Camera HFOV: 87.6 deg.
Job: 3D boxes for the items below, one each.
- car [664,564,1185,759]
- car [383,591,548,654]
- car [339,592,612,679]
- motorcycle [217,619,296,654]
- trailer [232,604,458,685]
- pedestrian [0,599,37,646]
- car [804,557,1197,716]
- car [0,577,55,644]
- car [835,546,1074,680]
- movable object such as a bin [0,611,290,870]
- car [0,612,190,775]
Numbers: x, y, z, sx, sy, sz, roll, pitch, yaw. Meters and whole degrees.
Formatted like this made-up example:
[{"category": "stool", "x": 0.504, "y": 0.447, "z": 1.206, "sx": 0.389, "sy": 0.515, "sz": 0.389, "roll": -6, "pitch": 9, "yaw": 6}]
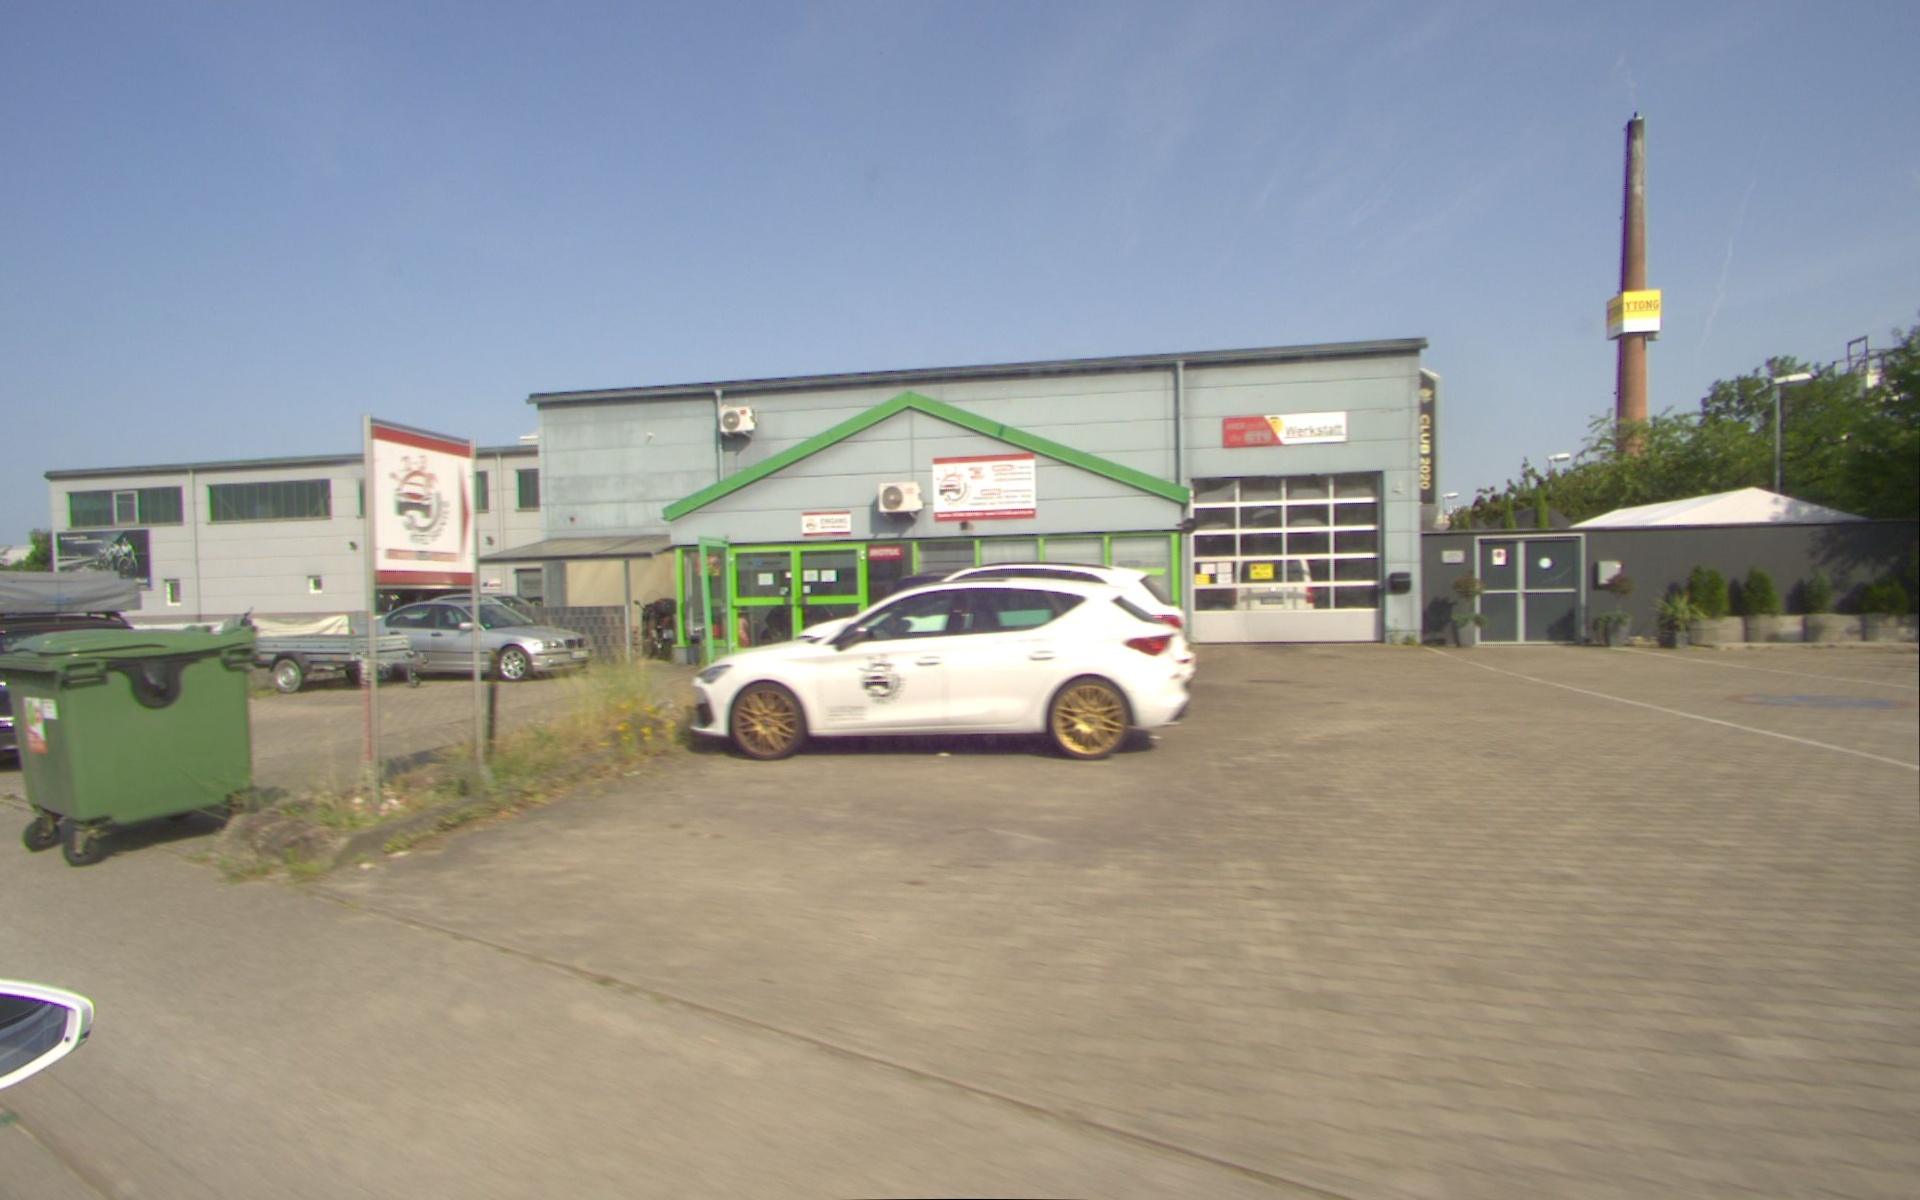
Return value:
[{"category": "car", "x": -0.236, "y": 0.501, "z": 8.778, "sx": 4.181, "sy": 1.485, "sz": 1.692, "roll": -1, "pitch": 1, "yaw": 9}, {"category": "car", "x": -13.244, "y": 0.592, "z": 26.908, "sx": 3.734, "sy": 1.589, "sz": 1.638, "roll": -1, "pitch": 1, "yaw": 12}, {"category": "car", "x": -8.806, "y": 0.635, "z": 18.300, "sx": 4.377, "sy": 1.485, "sz": 1.643, "roll": -1, "pitch": 1, "yaw": 12}, {"category": "motorcycle", "x": -23.082, "y": 1.189, "z": 32.878, "sx": 2.160, "sy": 1.109, "sz": 0.803, "roll": -1, "pitch": 1, "yaw": 9}, {"category": "trailer", "x": -10.177, "y": 0.730, "z": 16.681, "sx": 2.920, "sy": 1.264, "sz": 1.495, "roll": 0, "pitch": -1, "yaw": 7}, {"category": "pedestrian", "x": -33.966, "y": 0.808, "z": 36.126, "sx": 0.693, "sy": 1.662, "sz": 0.746, "roll": -1, "pitch": 1, "yaw": -23}, {"category": "car", "x": 0.492, "y": 0.402, "z": 11.190, "sx": 4.054, "sy": 1.593, "sz": 1.720, "roll": -1, "pitch": 1, "yaw": 9}, {"category": "car", "x": -41.673, "y": 0.476, "z": 43.524, "sx": 5.798, "sy": 2.742, "sz": 1.969, "roll": -1, "pitch": 1, "yaw": 33}, {"category": "car", "x": -0.008, "y": 0.193, "z": 14.225, "sx": 3.152, "sy": 1.743, "sz": 1.643, "roll": -1, "pitch": 1, "yaw": 9}, {"category": "movable object such as a bin", "x": -5.261, "y": 0.796, "z": 6.397, "sx": 1.485, "sy": 1.372, "sz": 1.077, "roll": -1, "pitch": 3, "yaw": 34}, {"category": "car", "x": -9.742, "y": 0.850, "z": 10.446, "sx": 4.338, "sy": 1.387, "sz": 1.667, "roll": -1, "pitch": 0, "yaw": 38}]
